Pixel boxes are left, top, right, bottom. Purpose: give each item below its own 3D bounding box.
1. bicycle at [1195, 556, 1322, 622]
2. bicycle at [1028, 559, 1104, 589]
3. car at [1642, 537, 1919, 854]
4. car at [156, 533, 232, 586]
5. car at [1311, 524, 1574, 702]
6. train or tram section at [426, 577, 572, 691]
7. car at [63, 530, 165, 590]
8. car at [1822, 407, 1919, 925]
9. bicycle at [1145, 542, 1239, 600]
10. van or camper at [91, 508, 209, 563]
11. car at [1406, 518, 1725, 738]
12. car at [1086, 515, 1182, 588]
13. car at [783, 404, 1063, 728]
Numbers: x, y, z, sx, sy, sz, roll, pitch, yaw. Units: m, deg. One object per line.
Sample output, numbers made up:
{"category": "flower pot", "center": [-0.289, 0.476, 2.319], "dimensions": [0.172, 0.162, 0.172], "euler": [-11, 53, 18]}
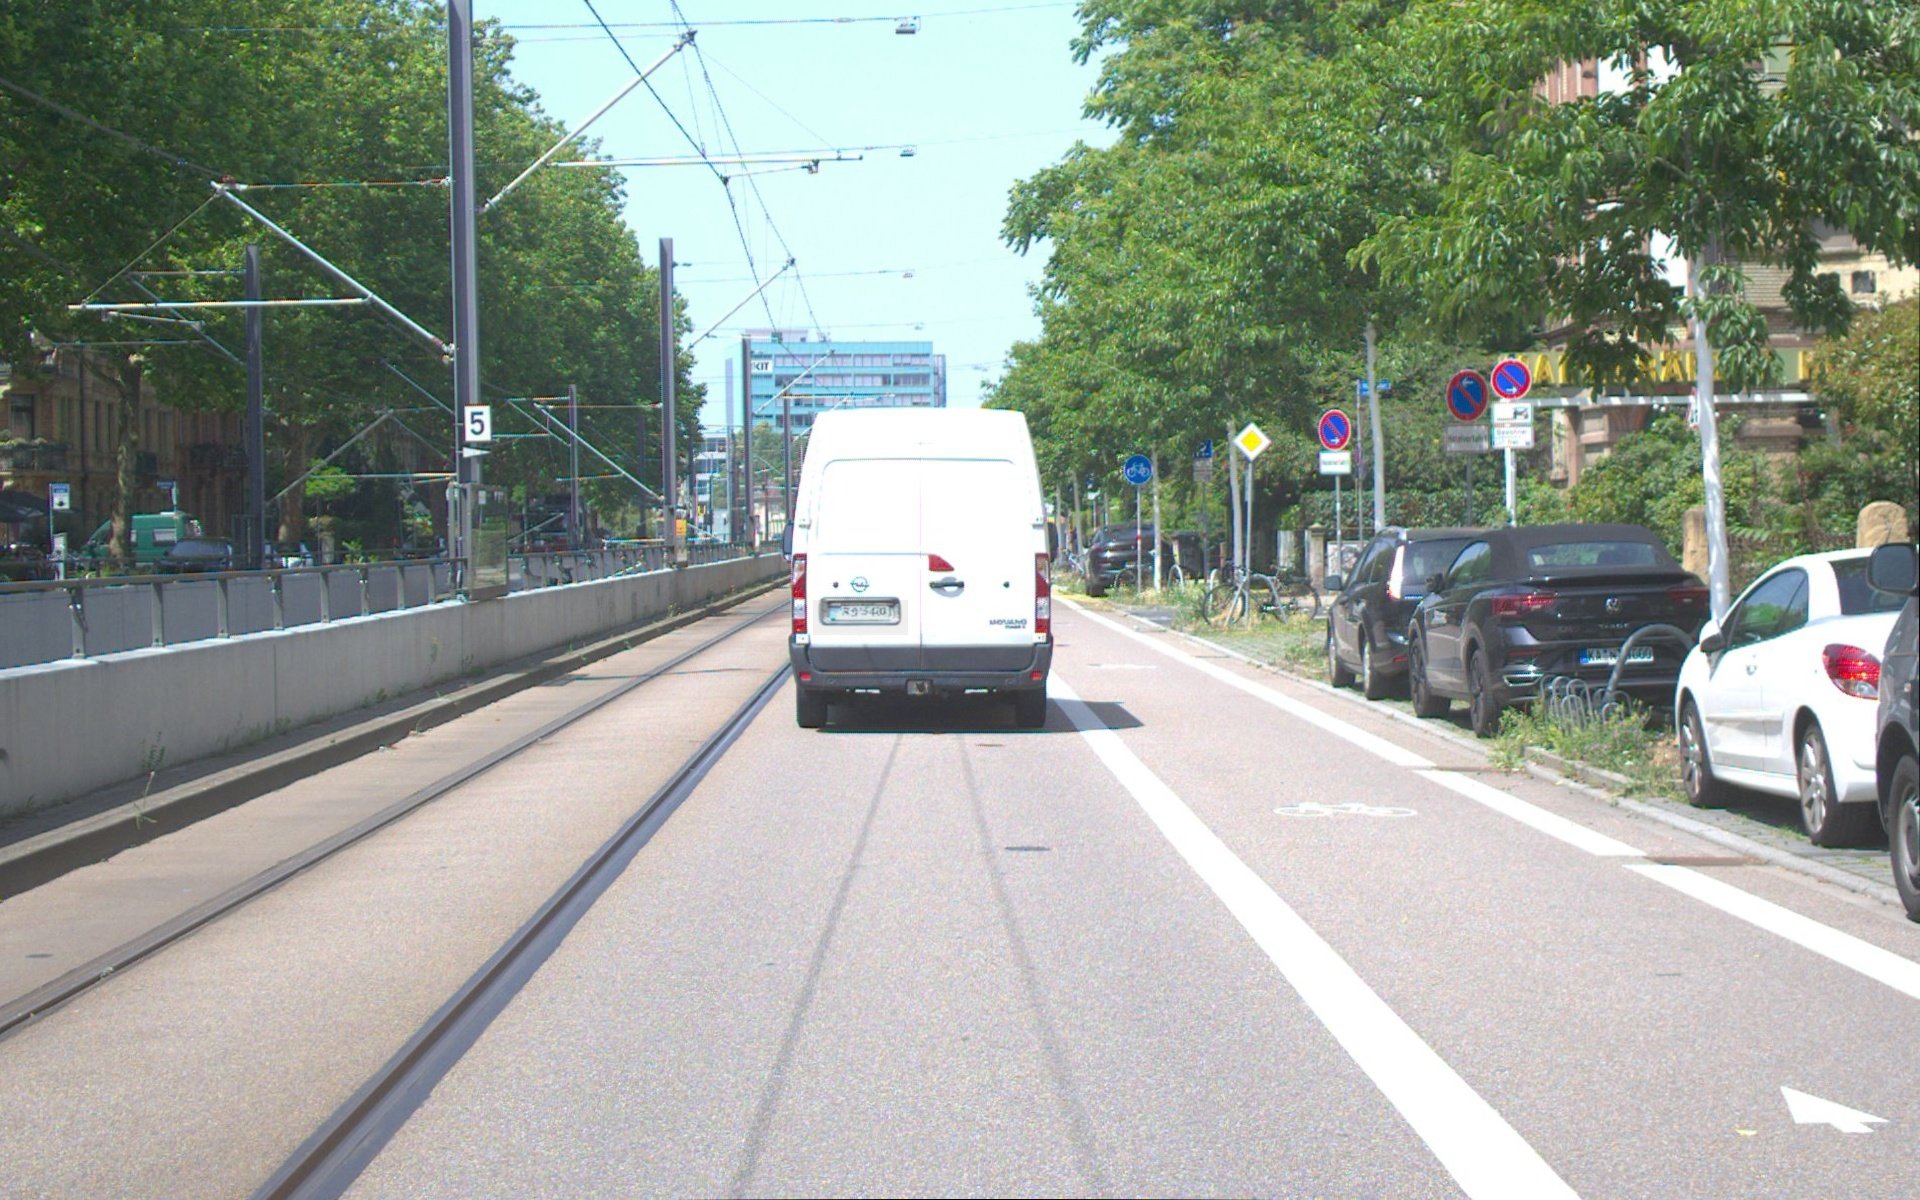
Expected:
{"category": "bicycle", "center": [4.439, -0.170, 51.189], "dimensions": [1.842, 0.950, 0.503], "euler": [-1, 1, 1]}
{"category": "bicycle", "center": [3.162, -0.784, 101.710], "dimensions": [1.560, 0.823, 3.998], "euler": [0, 1, 12]}
{"category": "car", "center": [4.746, 0.402, 17.722], "dimensions": [1.611, 1.401, 4.000], "euler": [-1, 1, -1]}
{"category": "car", "center": [-21.033, -1.122, 94.441], "dimensions": [1.373, 1.419, 3.088], "euler": [-1, 1, 0]}
{"category": "car", "center": [4.399, 0.064, 31.932], "dimensions": [1.729, 1.530, 4.405], "euler": [0, 1, -1]}
{"category": "train or tram section", "center": [-11.182, 0.751, 84.095], "dimensions": [2.729, 2.500, 8.518], "euler": [0, 1, -2]}
{"category": "car", "center": [-21.231, -1.023, 86.408], "dimensions": [1.592, 1.443, 4.000], "euler": [0, 1, 0]}
{"category": "car", "center": [4.527, 0.249, 11.694], "dimensions": [1.879, 1.941, 4.837], "euler": [-2, 1, -1]}
{"category": "bicycle", "center": [4.834, -0.608, 71.635], "dimensions": [1.887, 1.178, 0.640], "euler": [0, 1, -2]}
{"category": "van or camper", "center": [-30.525, -2.435, 129.633], "dimensions": [3.986, 2.007, 2.000], "euler": [-1, 1, -3]}
{"category": "car", "center": [4.528, 0.148, 26.233], "dimensions": [1.667, 1.525, 4.013], "euler": [-1, 1, -1]}
{"category": "car", "center": [4.064, -1.156, 81.073], "dimensions": [2.157, 1.664, 4.000], "euler": [0, 1, 2]}
{"category": "car", "center": [-0.335, -0.319, 28.641], "dimensions": [2.117, 2.450, 5.055], "euler": [0, 1, -1]}
